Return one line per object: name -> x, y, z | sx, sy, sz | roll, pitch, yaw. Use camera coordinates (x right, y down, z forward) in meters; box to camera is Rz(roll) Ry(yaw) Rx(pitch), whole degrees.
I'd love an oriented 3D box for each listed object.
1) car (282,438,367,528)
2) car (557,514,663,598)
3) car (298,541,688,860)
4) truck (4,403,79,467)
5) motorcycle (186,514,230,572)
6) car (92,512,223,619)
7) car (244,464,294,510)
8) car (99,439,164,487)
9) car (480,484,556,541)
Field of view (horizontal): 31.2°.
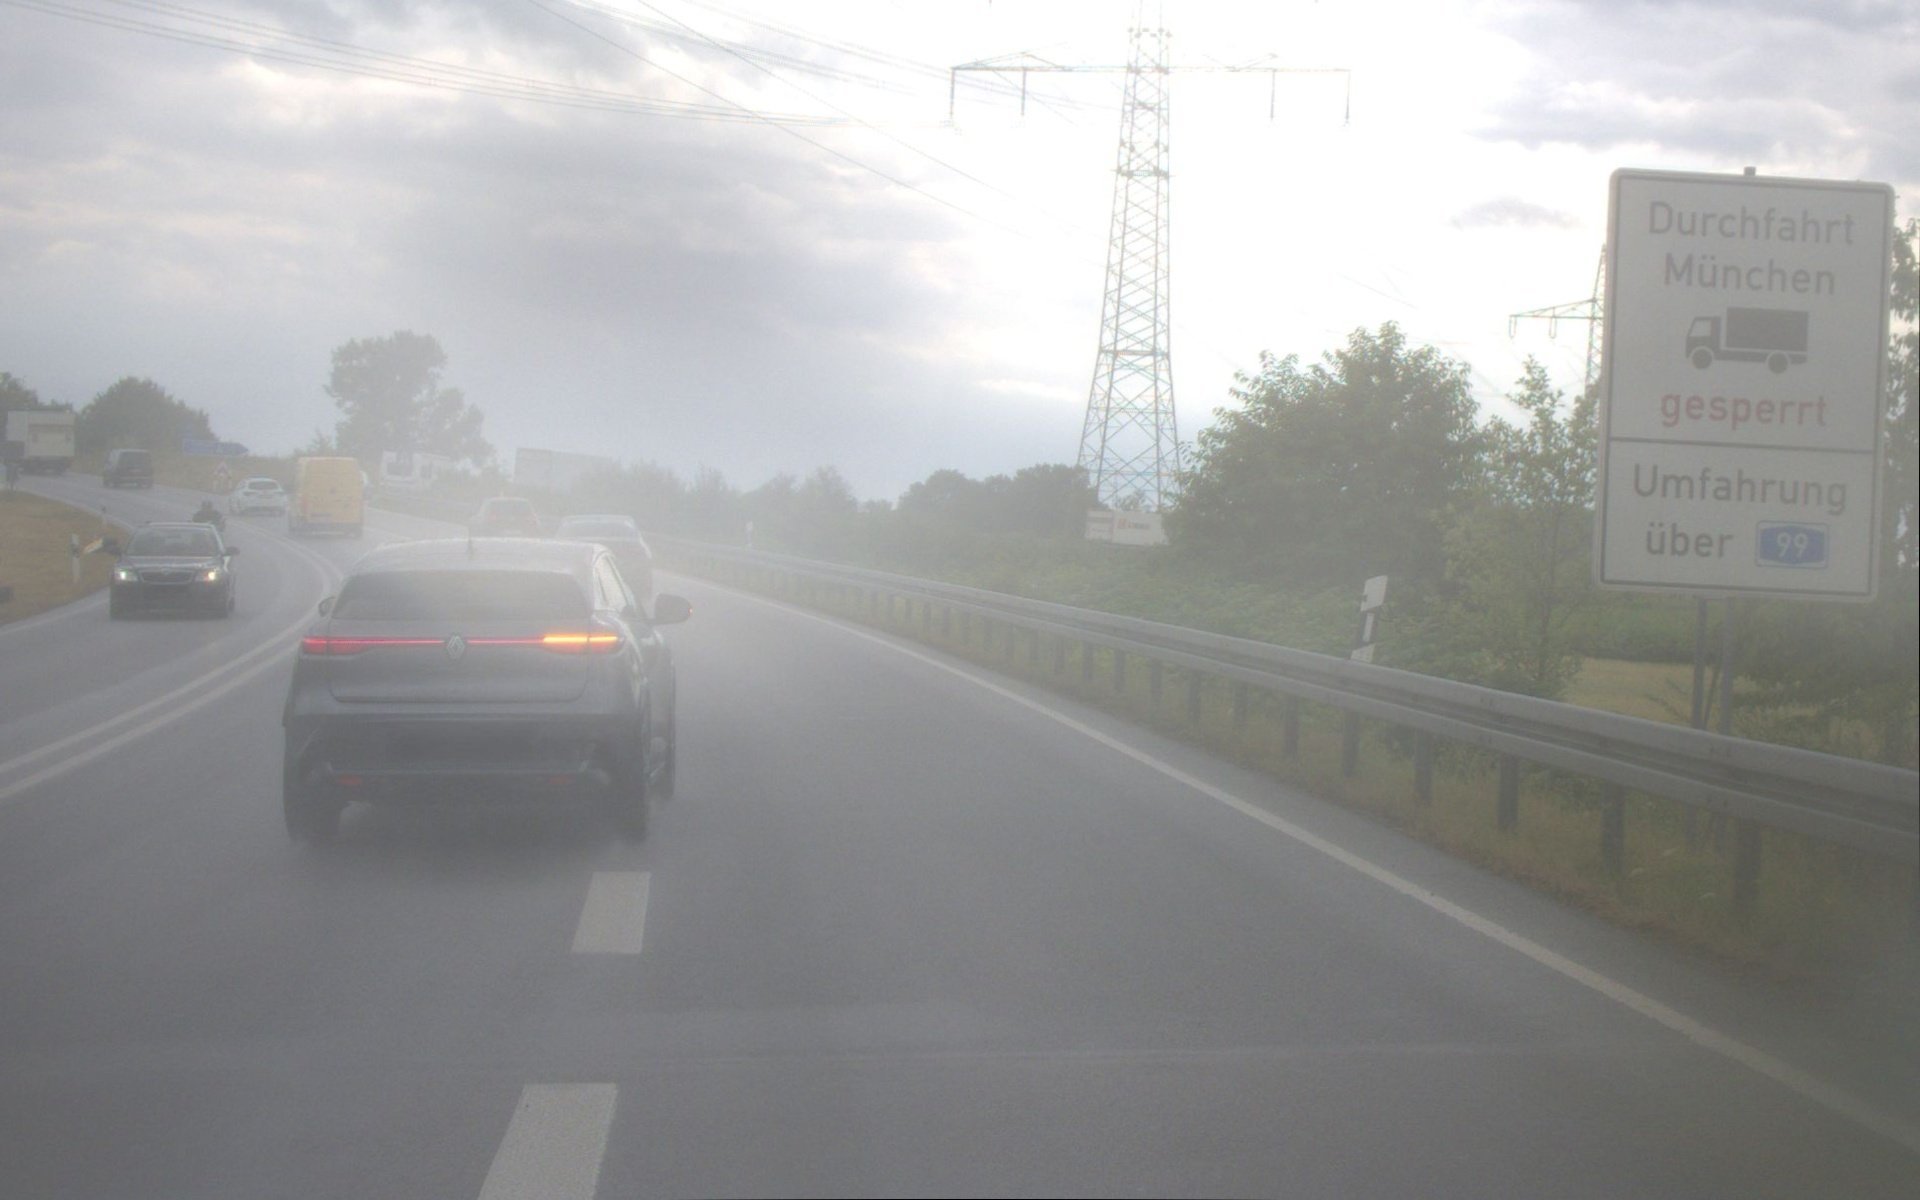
car -> -20.401, -3.716, 110.388 | 2.572, 2.716, 7.198 | 1, 1, -10
car -> -6.307, -0.794, 61.655 | 1.791, 1.436, 4.001 | -1, 1, -7
car -> -2.350, 0.436, 18.001 | 1.791, 1.436, 4.001 | 1, 1, -5
truck -> -52.448, -9.385, 196.153 | 3.045, 3.373, 7.646 | 1, 1, -23
motorcycle -> -16.785, -1.278, 76.717 | 0.801, 1.234, 2.186 | 0, 2, -17
car -> -12.427, -0.535, 53.425 | 1.799, 1.588, 4.226 | 0, 0, -11
car -> -26.940, -4.374, 133.934 | 1.791, 1.682, 4.001 | 1, 1, -13
car -> -41.648, -6.871, 172.713 | 2.601, 2.243, 5.537 | 1, 1, -19
car -> -12.849, -2.516, 99.783 | 1.791, 1.536, 4.001 | -1, 0, -13
